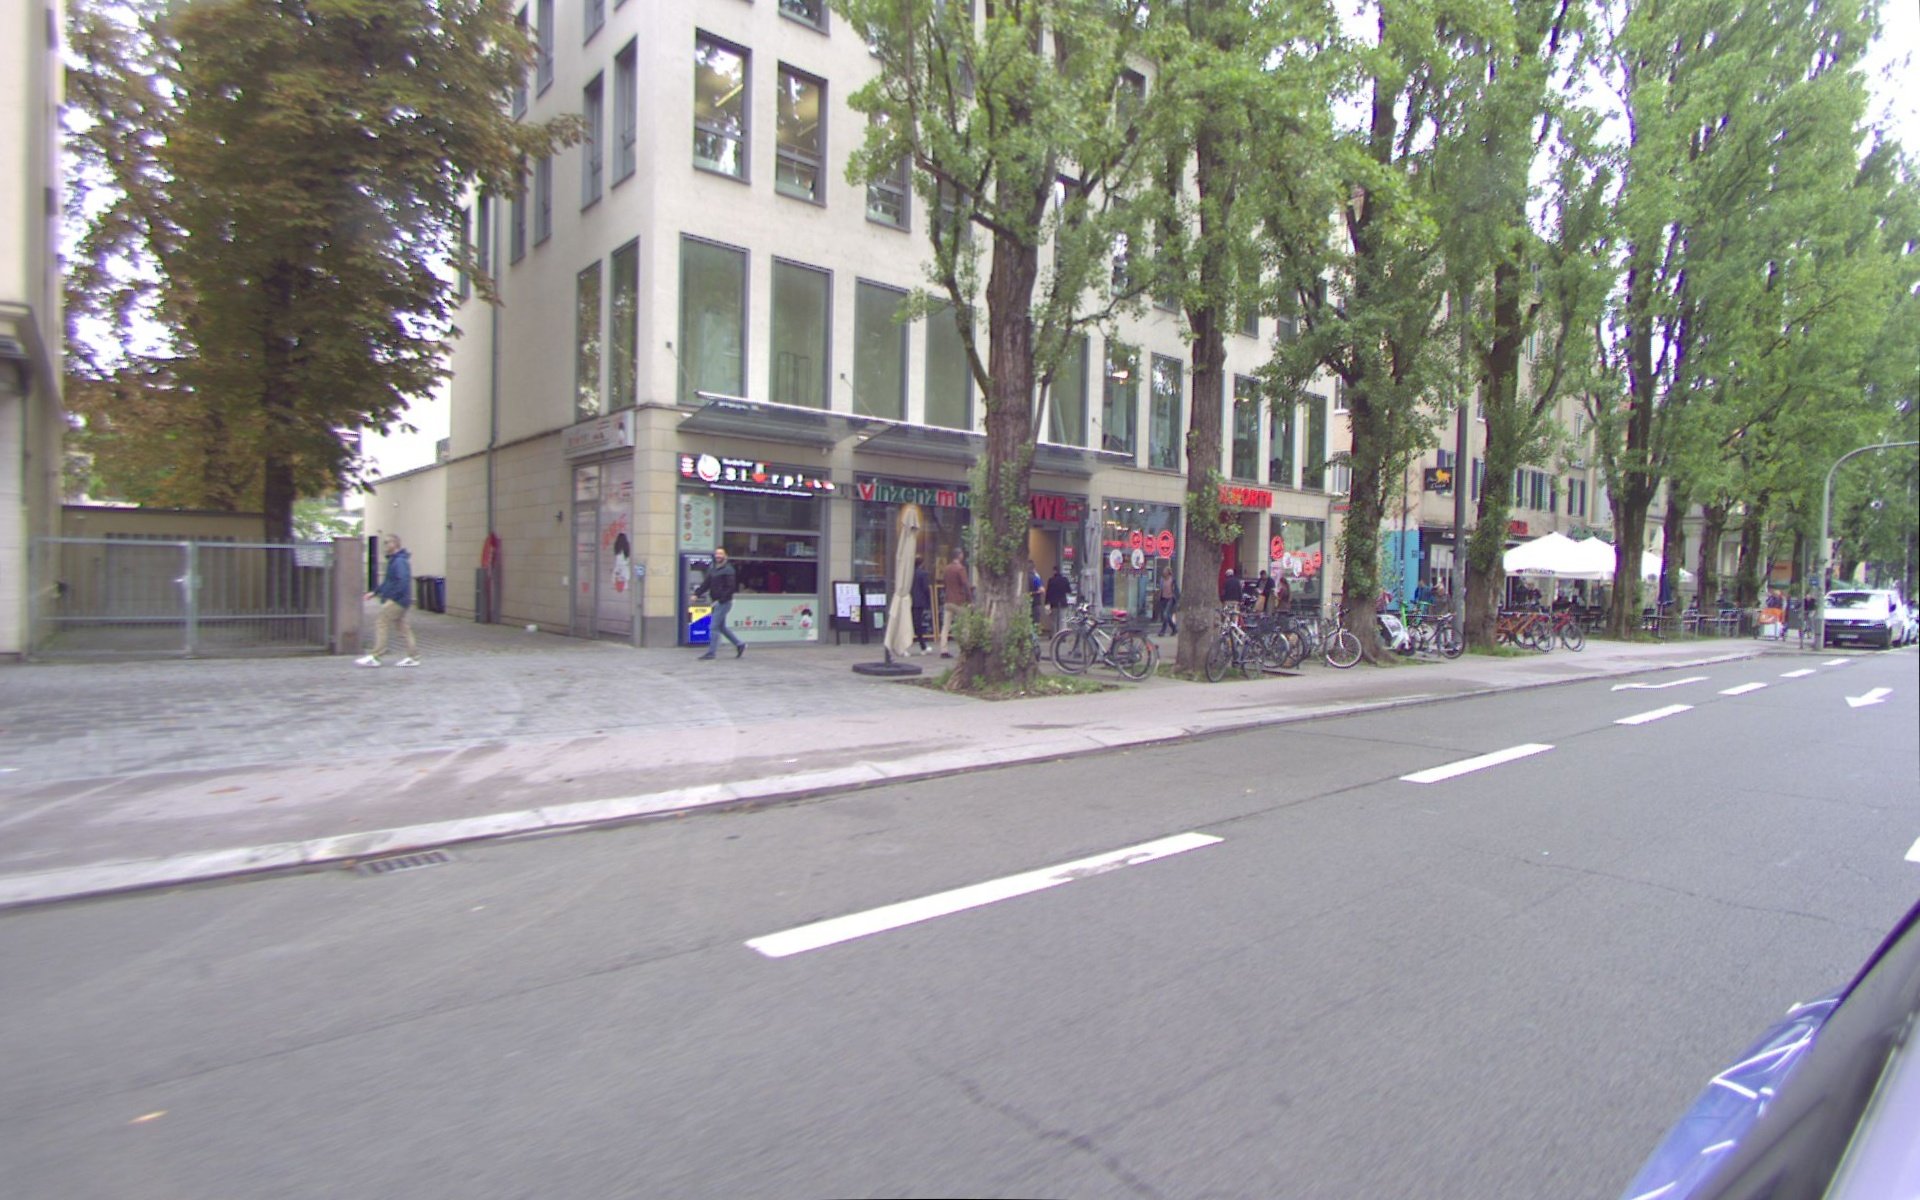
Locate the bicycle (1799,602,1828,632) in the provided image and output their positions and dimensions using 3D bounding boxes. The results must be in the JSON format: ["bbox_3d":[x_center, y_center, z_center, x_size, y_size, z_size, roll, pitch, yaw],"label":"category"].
[{"bbox_3d":[32.733,0.654,38.796,2.462,1.091,0.568,0,1,-44],"label":"bicycle"}]

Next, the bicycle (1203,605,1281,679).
[{"bbox_3d":[4.542,0.643,16.216,0.433,1.074,1.977,2,2,39],"label":"bicycle"}]

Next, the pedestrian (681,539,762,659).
[{"bbox_3d":[-3.786,-0.033,16.112,0.805,1.837,0.971,2,1,28],"label":"pedestrian"}]

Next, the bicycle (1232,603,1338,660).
[{"bbox_3d":[6.367,0.598,19.915,1.997,1.000,0.387,2,1,42],"label":"bicycle"}]

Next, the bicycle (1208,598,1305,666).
[{"bbox_3d":[5.308,0.553,18.181,1.669,1.131,0.282,2,1,38],"label":"bicycle"}]

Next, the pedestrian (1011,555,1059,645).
[{"bbox_3d":[1.539,-0.003,20.750,0.662,1.807,0.658,1,1,-39],"label":"pedestrian"}]

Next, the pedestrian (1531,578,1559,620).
[{"bbox_3d":[22.831,-0.033,39.506,0.858,1.597,0.696,1,0,-40],"label":"pedestrian"}]

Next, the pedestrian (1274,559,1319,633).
[{"bbox_3d":[8.805,-0.108,26.491,0.806,1.893,0.754,1,1,-38],"label":"pedestrian"}]

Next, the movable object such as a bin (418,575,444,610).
[{"bbox_3d":[-16.086,-0.234,30.784,0.573,1.020,0.667,0,1,-40],"label":"movable object such as a bin"}]

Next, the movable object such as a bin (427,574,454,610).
[{"bbox_3d":[-15.365,-0.242,29.935,0.586,1.063,0.612,0,1,-41],"label":"movable object such as a bin"}]

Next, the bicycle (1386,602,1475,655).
[{"bbox_3d":[10.313,0.597,22.247,0.385,1.021,1.848,1,3,-31],"label":"bicycle"}]

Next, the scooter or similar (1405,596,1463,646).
[{"bbox_3d":[11.235,0.498,23.993,1.220,1.184,0.307,0,0,-1],"label":"scooter or similar"}]

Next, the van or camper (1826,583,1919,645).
[{"bbox_3d":[30.552,0.433,33.767,4.485,1.929,1.794,0,1,-40],"label":"van or camper"}]

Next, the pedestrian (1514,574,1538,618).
[{"bbox_3d":[22.411,-0.158,40.096,0.669,1.741,0.629,1,0,-40],"label":"pedestrian"}]

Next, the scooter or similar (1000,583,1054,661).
[{"bbox_3d":[1.150,0.363,17.237,1.018,1.289,0.247,0,1,-41],"label":"scooter or similar"}]

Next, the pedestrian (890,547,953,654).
[{"bbox_3d":[-0.691,-0.007,18.215,0.889,1.874,0.658,1,1,-39],"label":"pedestrian"}]

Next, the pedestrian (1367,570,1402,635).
[{"bbox_3d":[11.091,0.048,26.444,0.737,1.669,0.548,1,0,-38],"label":"pedestrian"}]

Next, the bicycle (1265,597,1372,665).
[{"bbox_3d":[6.661,0.553,18.879,1.864,1.149,0.335,3,2,42],"label":"bicycle"}]

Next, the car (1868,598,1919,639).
[{"bbox_3d":[34.592,0.655,37.113,3.421,1.414,1.475,0,2,-40],"label":"car"}]

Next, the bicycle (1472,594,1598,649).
[{"bbox_3d":[14.452,0.516,25.501,0.948,1.230,2.577,0,2,-40],"label":"bicycle"}]

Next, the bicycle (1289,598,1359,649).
[{"bbox_3d":[8.000,0.499,22.196,1.968,1.076,0.393,0,2,-37],"label":"bicycle"}]

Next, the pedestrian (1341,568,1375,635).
[{"bbox_3d":[10.674,0.044,27.160,0.684,1.764,0.566,1,0,-38],"label":"pedestrian"}]

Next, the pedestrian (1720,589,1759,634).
[{"bbox_3d":[31.975,0.460,41.525,0.819,1.788,0.945,1,0,-3],"label":"pedestrian"}]

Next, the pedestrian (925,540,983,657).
[{"bbox_3d":[-0.107,-0.036,17.688,0.709,1.995,0.658,1,1,-38],"label":"pedestrian"}]

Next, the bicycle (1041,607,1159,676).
[{"bbox_3d":[2.148,0.622,15.766,1.997,0.957,0.282,2,1,42],"label":"bicycle"}]

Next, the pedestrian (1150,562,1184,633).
[{"bbox_3d":[5.311,-0.077,25.977,0.630,1.790,0.547,1,0,-40],"label":"pedestrian"}]

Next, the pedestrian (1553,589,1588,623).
[{"bbox_3d":[22.752,0.208,37.725,1.004,1.231,0.775,1,0,-37],"label":"pedestrian"}]

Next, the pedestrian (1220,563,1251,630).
[{"bbox_3d":[7.550,-0.098,27.749,0.592,1.790,0.633,1,0,38],"label":"pedestrian"}]

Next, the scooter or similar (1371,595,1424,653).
[{"bbox_3d":[9.414,0.506,21.802,0.395,1.184,1.247,0,1,-11],"label":"scooter or similar"}]

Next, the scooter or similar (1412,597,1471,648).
[{"bbox_3d":[11.182,0.518,23.498,1.221,1.184,0.286,0,0,2],"label":"scooter or similar"}]

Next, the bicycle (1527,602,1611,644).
[{"bbox_3d":[16.185,0.597,26.941,0.494,1.022,1.843,0,2,-40],"label":"bicycle"}]

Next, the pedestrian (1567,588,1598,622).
[{"bbox_3d":[23.644,0.185,38.418,1.004,1.231,0.668,1,0,-37],"label":"pedestrian"}]

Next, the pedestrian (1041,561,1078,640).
[{"bbox_3d":[2.268,0.003,22.956,0.650,1.731,0.687,2,1,20],"label":"pedestrian"}]

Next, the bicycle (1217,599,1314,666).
[{"bbox_3d":[5.568,0.564,18.490,1.657,1.121,0.391,2,1,39],"label":"bicycle"}]

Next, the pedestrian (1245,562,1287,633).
[{"bbox_3d":[8.323,-0.073,27.553,0.806,1.877,0.753,1,0,-39],"label":"pedestrian"}]

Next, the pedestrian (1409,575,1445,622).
[{"bbox_3d":[16.353,-0.058,35.427,0.998,1.624,0.764,1,0,-40],"label":"pedestrian"}]

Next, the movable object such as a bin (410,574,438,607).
[{"bbox_3d":[-16.833,-0.307,31.782,0.617,1.020,0.667,0,1,-41],"label":"movable object such as a bin"}]

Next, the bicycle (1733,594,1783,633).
[{"bbox_3d":[30.655,0.479,38.932,0.819,1.429,2.579,1,1,23],"label":"bicycle"}]

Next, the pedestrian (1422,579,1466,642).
[{"bbox_3d":[12.965,0.273,27.121,0.779,1.608,0.711,1,3,-39],"label":"pedestrian"}]

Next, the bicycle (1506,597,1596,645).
[{"bbox_3d":[15.434,0.536,26.459,0.674,1.141,1.902,0,2,-40],"label":"bicycle"}]

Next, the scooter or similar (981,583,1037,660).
[{"bbox_3d":[0.856,0.359,17.548,1.018,1.289,0.331,0,1,-41],"label":"scooter or similar"}]

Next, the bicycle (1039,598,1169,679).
[{"bbox_3d":[2.135,0.545,15.195,1.991,1.096,0.282,2,1,34],"label":"bicycle"}]

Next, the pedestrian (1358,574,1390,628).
[{"bbox_3d":[11.868,0.018,29.033,0.684,1.539,0.566,1,0,-38],"label":"pedestrian"}]

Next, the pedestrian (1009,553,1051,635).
[{"bbox_3d":[1.601,-0.147,23.083,0.680,1.842,0.622,0,1,-42],"label":"pedestrian"}]

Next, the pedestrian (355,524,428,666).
[{"bbox_3d":[-7.628,-0.076,13.580,0.742,1.837,0.745,1,1,-37],"label":"pedestrian"}]
